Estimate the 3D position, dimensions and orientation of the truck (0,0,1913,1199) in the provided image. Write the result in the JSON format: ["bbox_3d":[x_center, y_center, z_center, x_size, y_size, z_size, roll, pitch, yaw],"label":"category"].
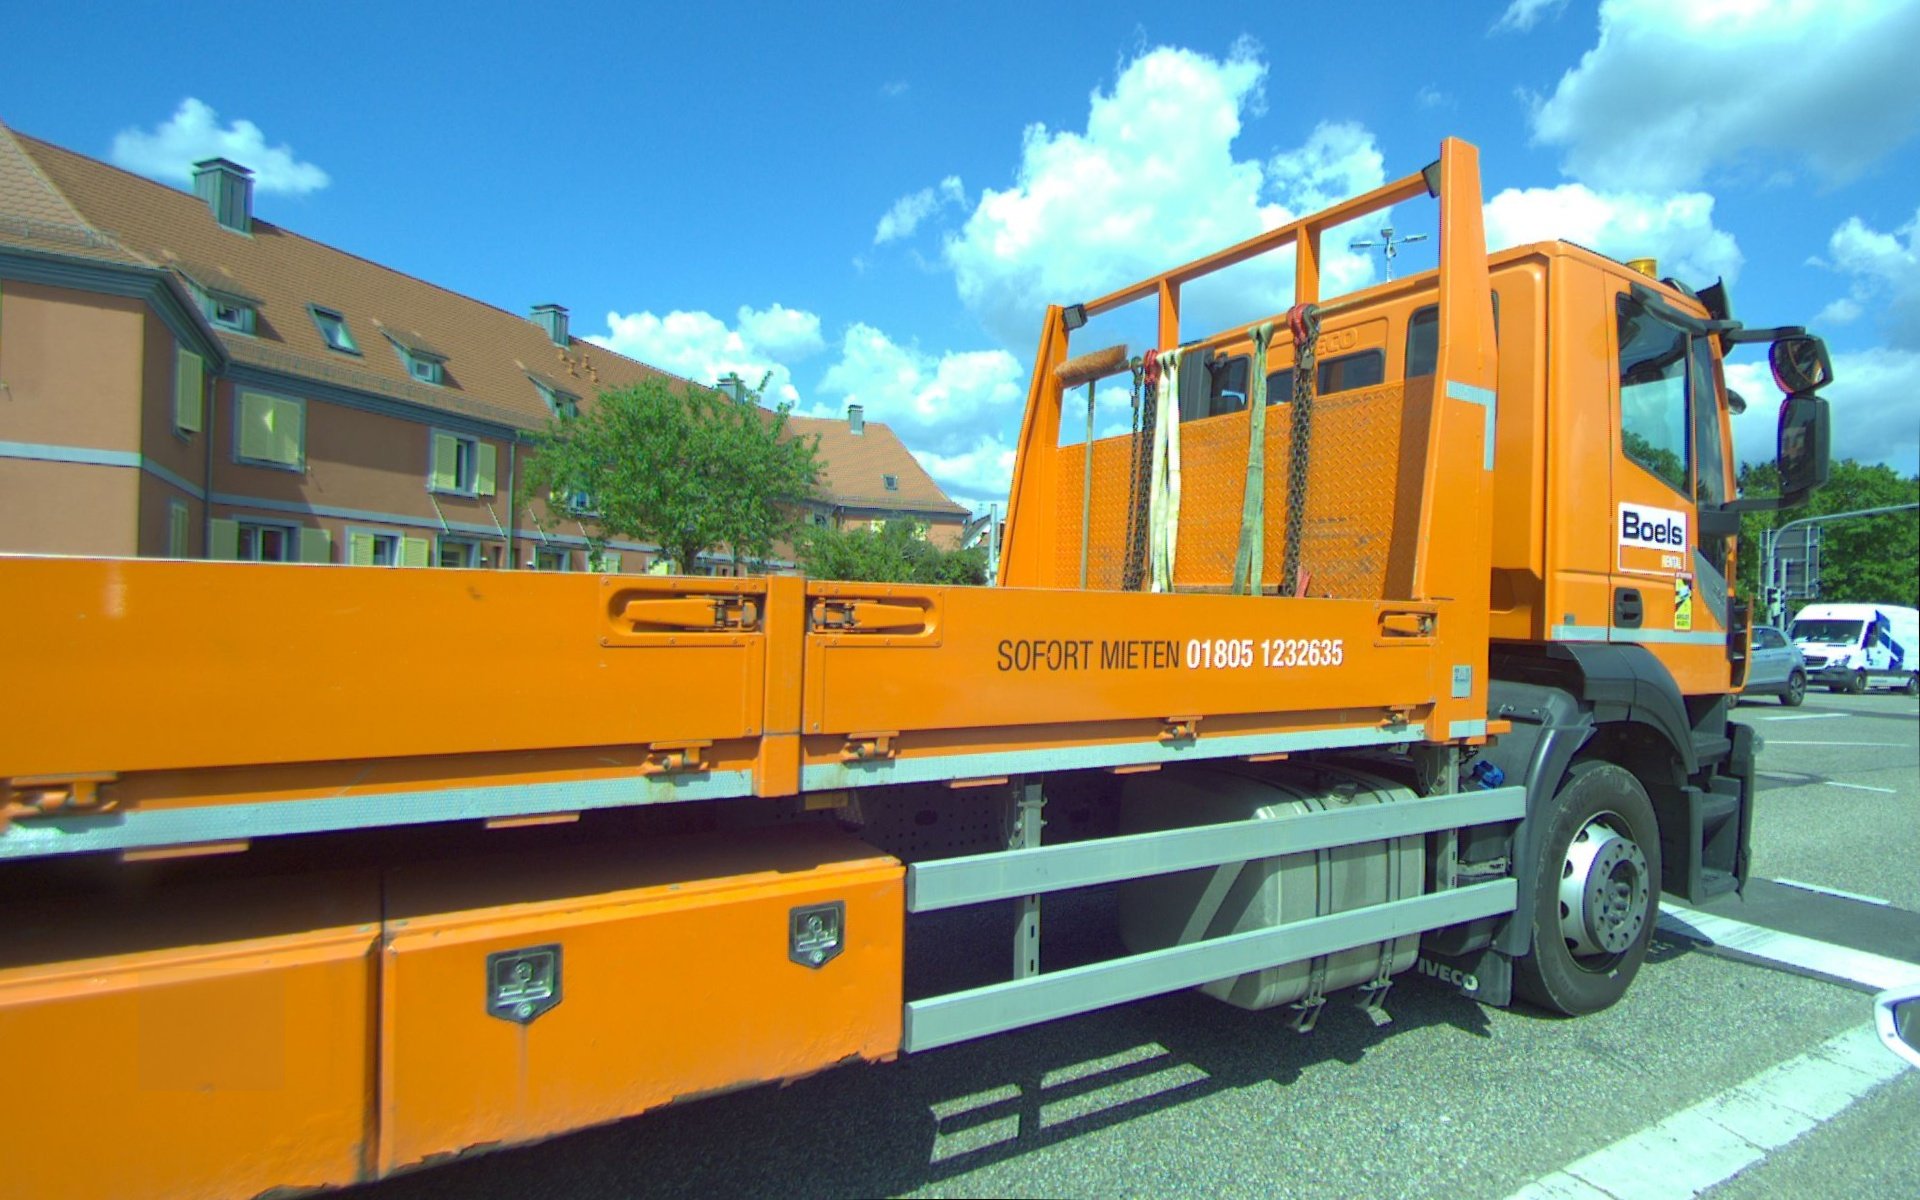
[{"bbox_3d":[-1.677,-0.379,2.620,10.940,3.459,3.055,3,1,-31],"label":"truck"}]

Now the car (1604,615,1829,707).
[{"bbox_3d":[14.810,1.198,19.644,4.252,1.564,1.729,3,1,-26],"label":"car"}]

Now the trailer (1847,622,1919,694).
[{"bbox_3d":[30.488,1.846,31.527,5.094,2.040,2.117,3,1,-26],"label":"trailer"}]

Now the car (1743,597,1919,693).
[{"bbox_3d":[25.604,1.332,29.100,5.889,2.504,2.166,3,1,-26],"label":"car"}]

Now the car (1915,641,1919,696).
[{"bbox_3d":[26.100,1.800,25.530,3.478,1.370,1.755,3,-1,-30],"label":"car"}]
